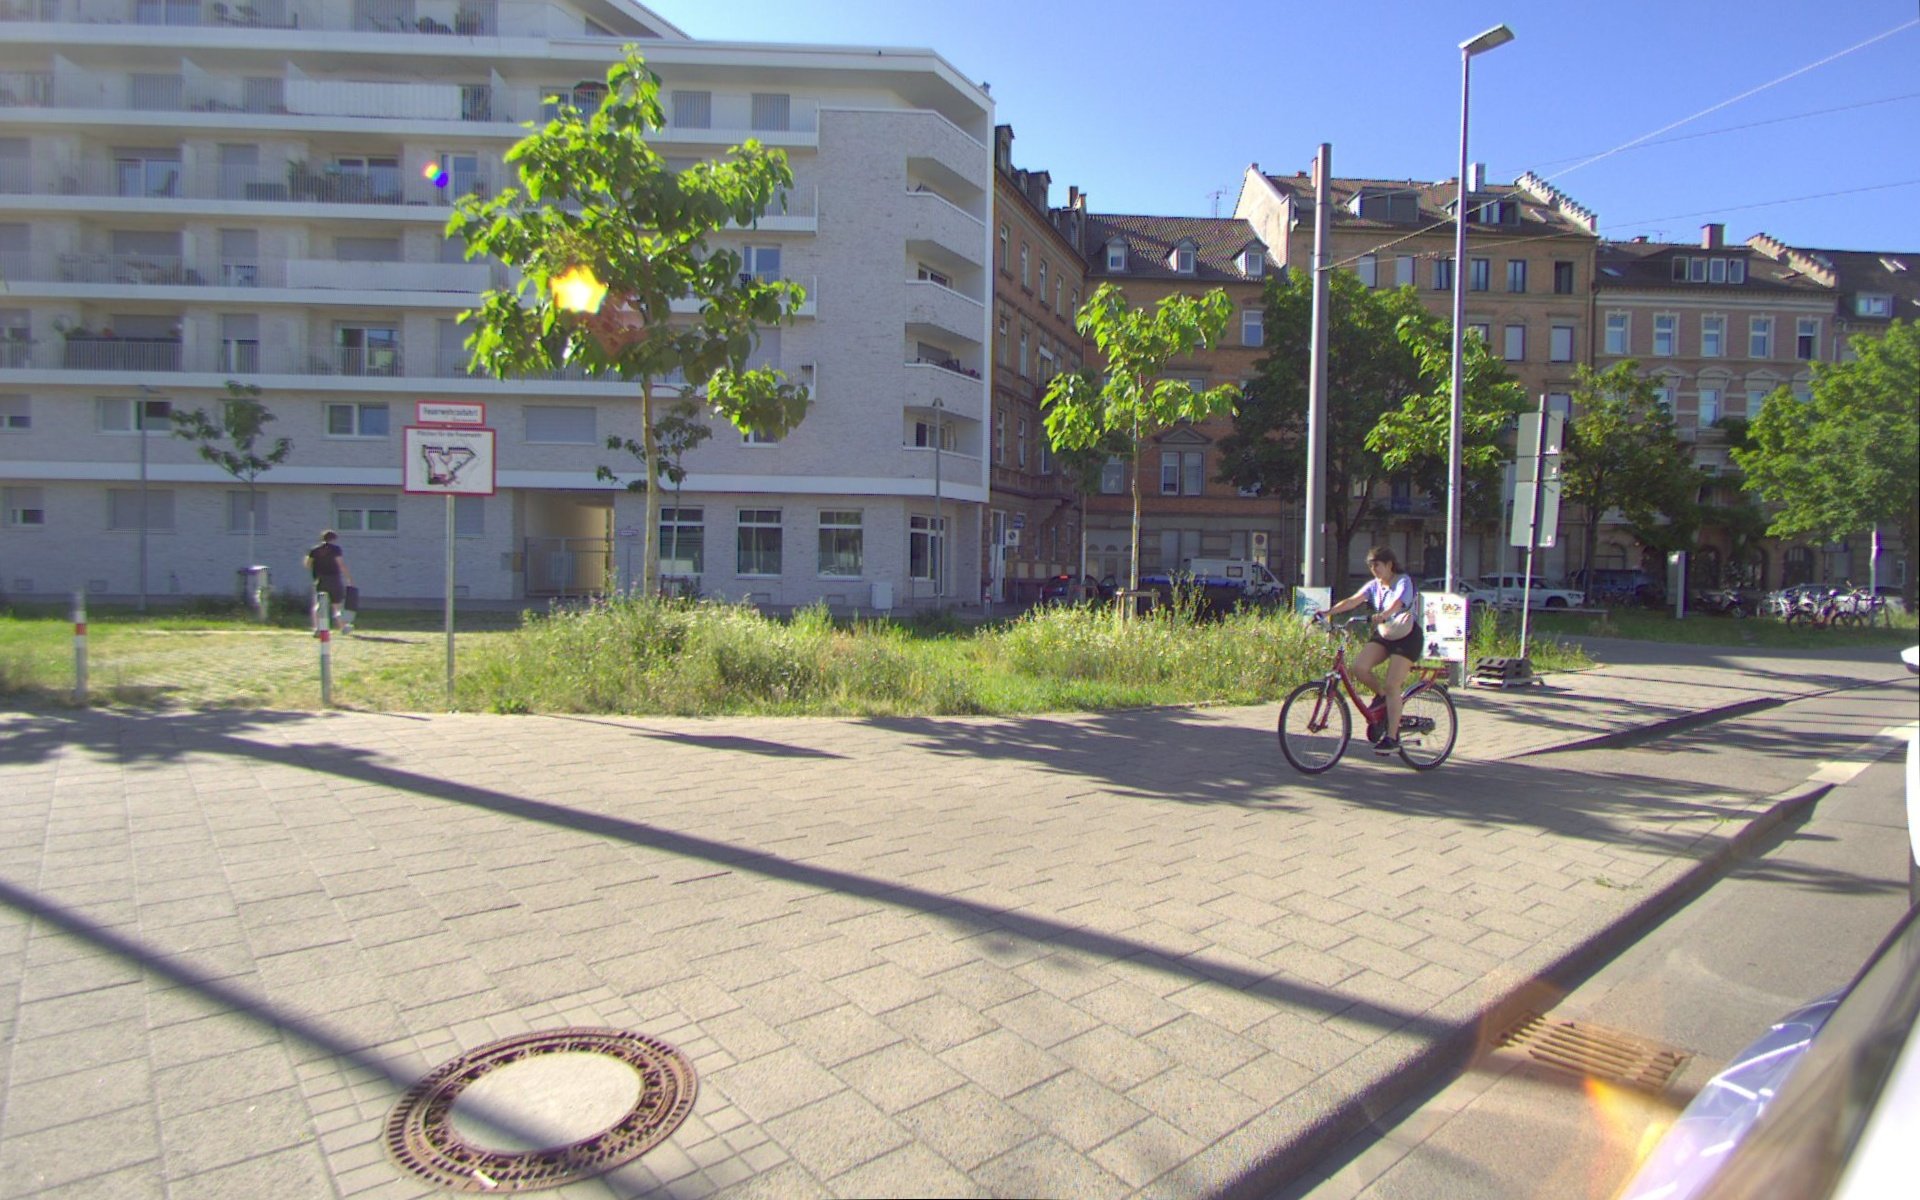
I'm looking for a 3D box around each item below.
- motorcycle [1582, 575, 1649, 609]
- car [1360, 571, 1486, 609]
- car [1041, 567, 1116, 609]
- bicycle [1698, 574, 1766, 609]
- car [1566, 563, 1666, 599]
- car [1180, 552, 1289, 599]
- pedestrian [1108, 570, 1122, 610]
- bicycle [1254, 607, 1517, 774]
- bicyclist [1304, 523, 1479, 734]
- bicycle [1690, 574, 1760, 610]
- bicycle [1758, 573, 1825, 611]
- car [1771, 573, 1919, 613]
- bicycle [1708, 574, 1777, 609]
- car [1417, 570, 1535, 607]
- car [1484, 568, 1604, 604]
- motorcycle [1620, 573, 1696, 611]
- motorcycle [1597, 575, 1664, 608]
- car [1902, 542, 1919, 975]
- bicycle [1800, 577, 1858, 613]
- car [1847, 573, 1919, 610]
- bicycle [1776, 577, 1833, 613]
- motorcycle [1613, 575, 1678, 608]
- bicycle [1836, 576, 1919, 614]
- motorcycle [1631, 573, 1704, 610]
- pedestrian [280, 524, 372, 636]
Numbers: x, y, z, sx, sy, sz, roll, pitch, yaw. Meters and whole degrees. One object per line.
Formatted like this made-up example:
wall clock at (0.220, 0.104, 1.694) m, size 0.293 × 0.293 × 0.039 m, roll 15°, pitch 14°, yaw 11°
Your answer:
motorcycle at (26.020, -0.326, 40.229) m, size 0.649 × 1.293 × 2.324 m, roll 0°, pitch 0°, yaw -18°
car at (17.343, -0.420, 38.110) m, size 1.648 × 1.267 × 4.170 m, roll 0°, pitch 3°, yaw -28°
car at (4.560, -0.503, 38.300) m, size 1.811 × 1.444 × 4.359 m, roll 1°, pitch 2°, yaw 21°
bicycle at (29.075, -0.318, 38.155) m, size 0.649 × 1.284 × 2.208 m, roll 0°, pitch 0°, yaw -9°
car at (30.869, -0.918, 47.653) m, size 3.631 × 1.607 × 1.552 m, roll 1°, pitch 2°, yaw 0°
car at (12.654, -1.152, 46.786) m, size 4.416 × 2.062 × 2.054 m, roll 1°, pitch 2°, yaw 0°
pedestrian at (5.795, -0.364, 37.929) m, size 0.500 × 1.474 × 0.480 m, roll 0°, pitch 0°, yaw 11°
bicycle at (3.122, 0.645, 7.419) m, size 1.782 × 1.085 × 0.670 m, roll 3°, pitch 1°, yaw -23°
bicyclist at (3.162, 0.204, 7.445) m, size 0.920 × 1.454 × 0.670 m, roll 3°, pitch 1°, yaw -23°
bicycle at (28.364, -0.308, 37.568) m, size 0.649 × 1.284 × 2.208 m, roll 0°, pitch 0°, yaw -11°
bicycle at (29.268, -0.290, 35.677) m, size 0.651 × 1.284 × 2.202 m, roll 0°, pitch 0°, yaw 4°
car at (34.679, -0.319, 39.596) m, size 1.651 × 1.423 × 4.324 m, roll -1°, pitch 3°, yaw -38°
bicycle at (29.718, -0.324, 38.467) m, size 0.649 × 1.284 × 2.208 m, roll 0°, pitch 0°, yaw -9°
car at (19.666, -0.466, 38.720) m, size 1.648 × 1.267 × 3.709 m, roll 0°, pitch 3°, yaw -28°
car at (22.323, -0.576, 38.776) m, size 1.513 × 1.267 × 3.700 m, roll -1°, pitch 3°, yaw -39°
motorcycle at (25.332, -0.304, 36.783) m, size 0.650 × 1.347 × 2.207 m, roll 0°, pitch 0°, yaw -28°
motorcycle at (26.691, -0.334, 40.360) m, size 0.649 × 1.300 × 2.324 m, roll 0°, pitch 0°, yaw -18°
car at (5.864, 0.608, 4.718) m, size 4.323 × 1.667 × 1.840 m, roll 0°, pitch 0°, yaw -43°
bicycle at (32.029, -0.191, 37.337) m, size 0.653 × 1.284 × 2.196 m, roll 0°, pitch 0°, yaw 12°
car at (37.816, -0.327, 39.965) m, size 1.649 × 1.423 × 3.832 m, roll -1°, pitch 3°, yaw -32°
bicycle at (30.934, -0.183, 37.114) m, size 0.653 × 1.284 × 2.196 m, roll 0°, pitch 0°, yaw 12°
motorcycle at (27.482, -0.333, 40.614) m, size 0.649 × 1.284 × 2.209 m, roll 0°, pitch 0°, yaw -18°
bicycle at (31.623, -0.164, 34.767) m, size 2.180 × 1.284 × 0.657 m, roll 0°, pitch 0°, yaw 25°
motorcycle at (26.148, -0.319, 37.472) m, size 0.649 × 1.339 × 2.208 m, roll 0°, pitch 0°, yaw -23°
pedestrian at (-10.205, -0.331, 16.319) m, size 0.829 × 1.717 × 0.985 m, roll 2°, pitch 2°, yaw 2°
